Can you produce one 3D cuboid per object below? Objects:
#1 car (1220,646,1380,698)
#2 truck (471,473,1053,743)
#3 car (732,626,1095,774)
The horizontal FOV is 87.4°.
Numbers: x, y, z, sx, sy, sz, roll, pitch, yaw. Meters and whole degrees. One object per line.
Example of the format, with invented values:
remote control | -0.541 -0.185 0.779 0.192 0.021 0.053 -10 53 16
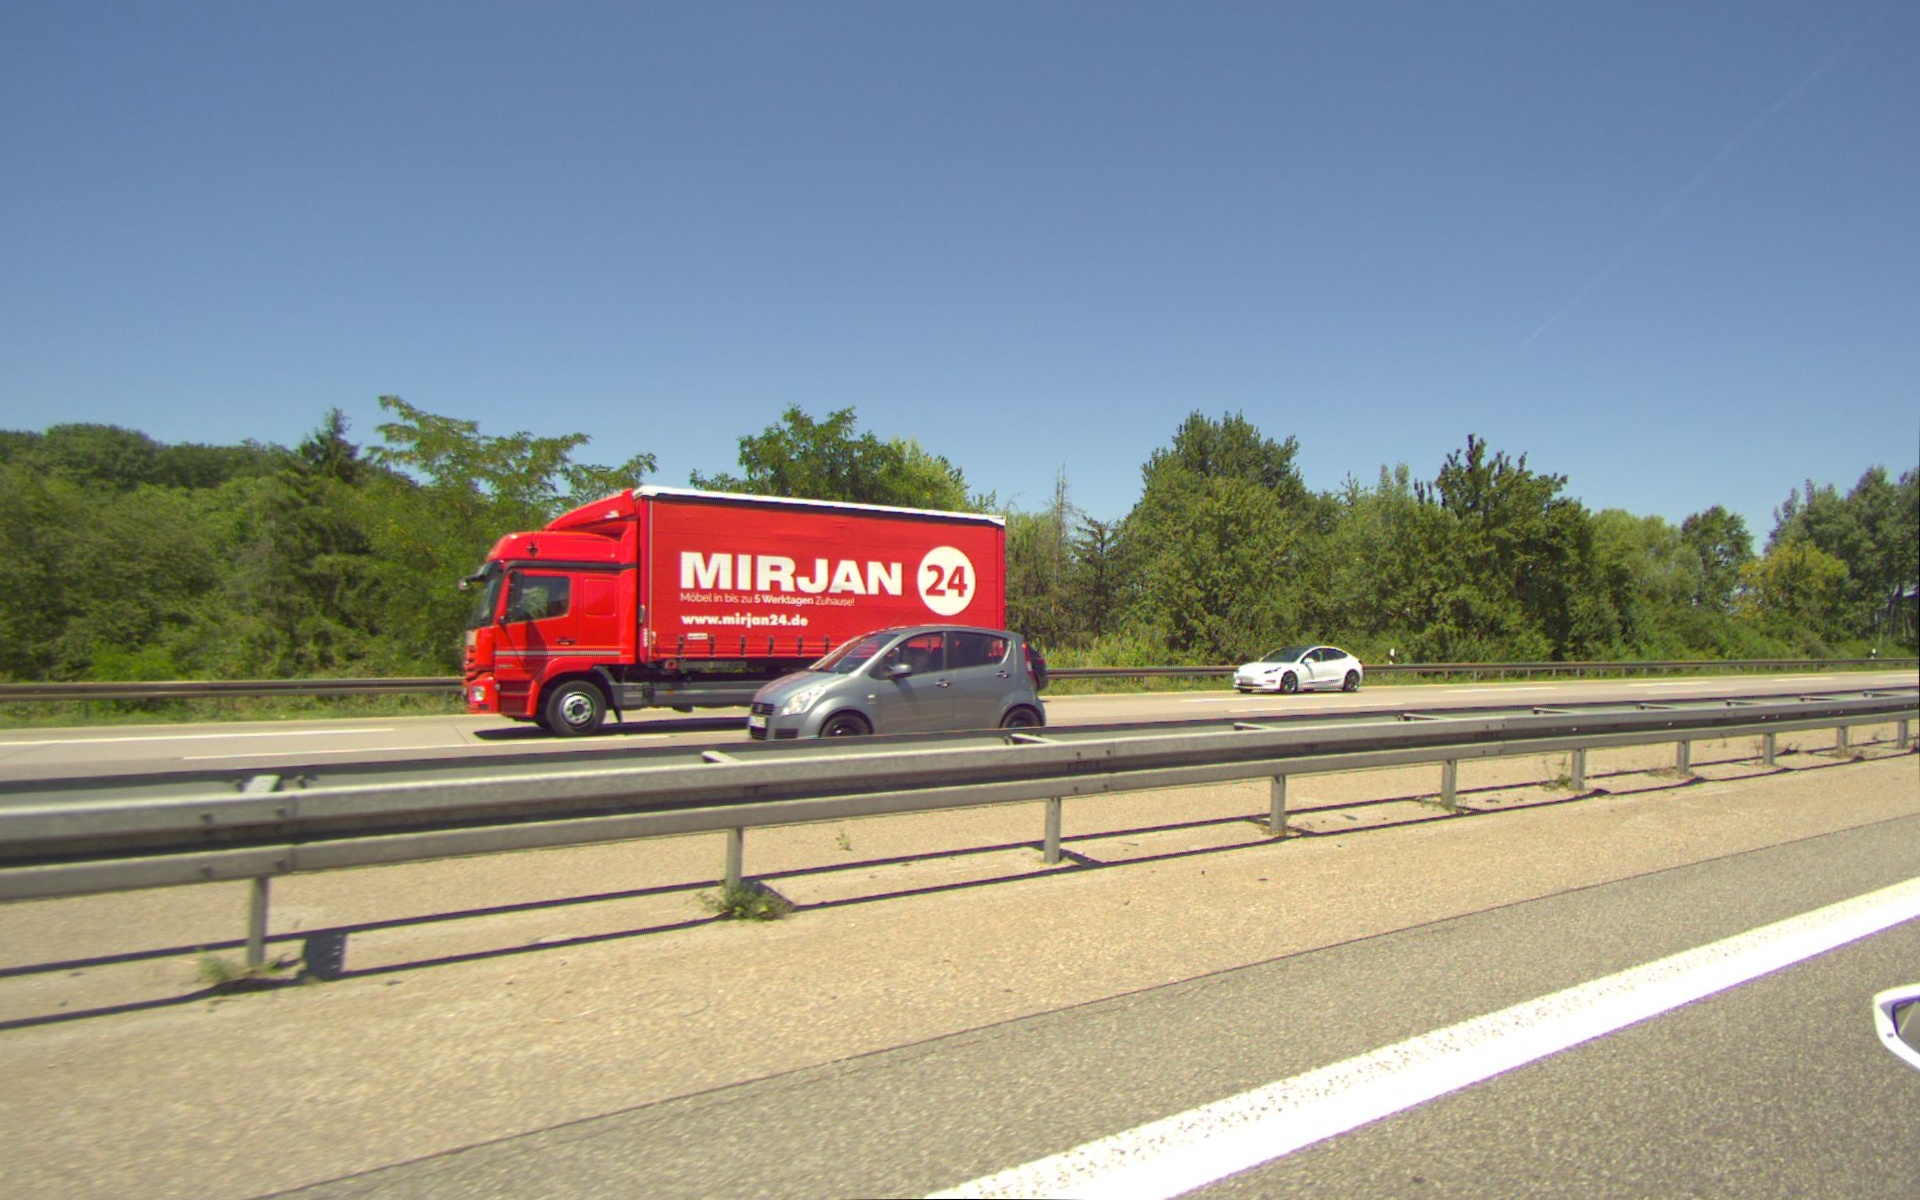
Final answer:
car | 10.537 2.179 31.071 4.915 1.431 1.984 2 -2 -30
truck | -3.175 0.310 17.872 9.693 3.775 3.050 2 -4 -31
car | -0.518 1.114 12.328 4.071 1.526 1.886 2 -2 -32
